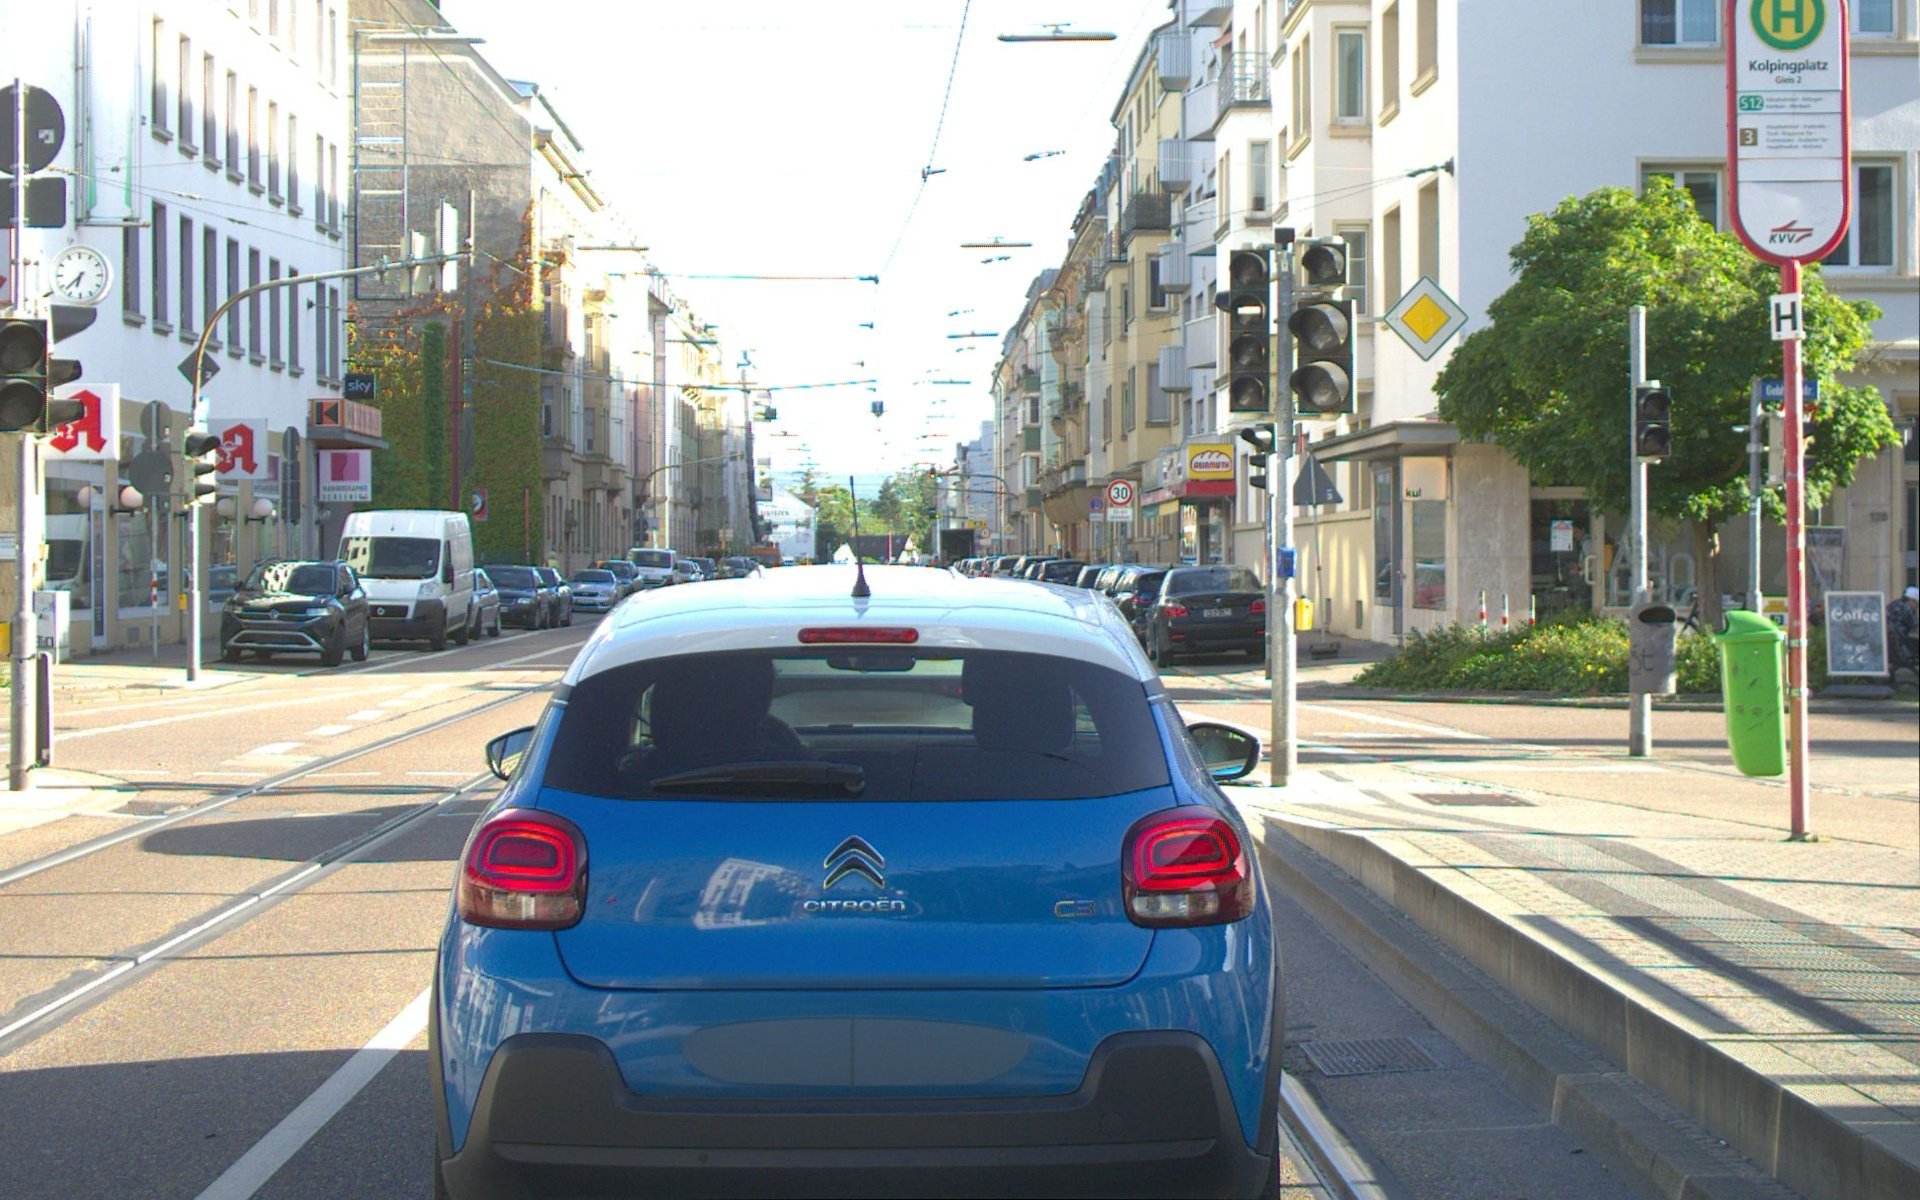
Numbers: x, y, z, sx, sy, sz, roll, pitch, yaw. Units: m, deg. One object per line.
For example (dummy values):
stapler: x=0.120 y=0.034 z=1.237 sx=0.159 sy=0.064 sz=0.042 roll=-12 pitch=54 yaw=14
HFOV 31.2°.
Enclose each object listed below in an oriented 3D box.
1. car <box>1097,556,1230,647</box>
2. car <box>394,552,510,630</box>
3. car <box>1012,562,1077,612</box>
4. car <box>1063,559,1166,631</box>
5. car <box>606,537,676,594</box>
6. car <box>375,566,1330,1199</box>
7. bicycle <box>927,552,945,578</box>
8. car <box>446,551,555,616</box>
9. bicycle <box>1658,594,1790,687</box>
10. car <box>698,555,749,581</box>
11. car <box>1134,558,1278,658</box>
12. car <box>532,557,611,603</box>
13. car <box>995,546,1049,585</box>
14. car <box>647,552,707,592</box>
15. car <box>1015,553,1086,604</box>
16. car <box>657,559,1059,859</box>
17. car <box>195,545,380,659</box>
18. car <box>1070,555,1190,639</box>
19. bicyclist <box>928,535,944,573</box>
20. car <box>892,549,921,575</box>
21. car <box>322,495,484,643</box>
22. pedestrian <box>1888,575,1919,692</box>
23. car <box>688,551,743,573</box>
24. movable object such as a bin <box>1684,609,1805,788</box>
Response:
car: x=3.358 y=-0.001 z=57.382 sx=1.993 sy=1.459 sz=4.000 roll=0 pitch=1 yaw=0
car: x=-10.215 y=-0.184 z=69.397 sx=1.888 sy=1.491 sz=3.562 roll=1 pitch=0 yaw=-2
car: x=2.667 y=-0.431 z=109.349 sx=1.993 sy=1.547 sz=4.000 roll=0 pitch=1 yaw=0
car: x=3.223 y=-0.124 z=72.279 sx=1.993 sy=1.459 sz=4.000 roll=0 pitch=1 yaw=0
car: x=-11.717 y=-1.258 z=126.546 sx=2.006 sy=2.007 sz=4.689 roll=1 pitch=0 yaw=1
car: x=-0.224 y=0.679 z=8.192 sx=1.728 sy=1.477 sz=3.827 roll=1 pitch=1 yaw=-1
bicycle: x=-1.296 y=-1.921 z=186.250 sx=0.920 sy=1.384 sz=3.132 roll=0 pitch=1 yaw=0
car: x=-10.369 y=-0.367 z=77.793 sx=1.993 sy=1.393 sz=4.157 roll=1 pitch=0 yaw=-2
bicycle: x=9.425 y=0.493 z=42.428 sx=1.568 sy=1.117 sz=0.300 roll=1 pitch=0 yaw=11
car: x=-10.551 y=-1.448 z=153.835 sx=1.993 sy=1.152 sz=4.000 roll=0 pitch=1 yaw=0
car: x=3.699 y=0.089 z=52.362 sx=1.909 sy=1.459 sz=4.000 roll=0 pitch=1 yaw=0
car: x=-11.616 y=-0.596 z=103.037 sx=1.993 sy=1.320 sz=3.923 roll=1 pitch=0 yaw=-2
car: x=2.378 y=-1.333 z=132.950 sx=1.993 sy=1.459 sz=4.000 roll=0 pitch=1 yaw=0
car: x=-11.254 y=-1.099 z=136.935 sx=1.955 sy=1.547 sz=3.938 roll=1 pitch=0 yaw=2
car: x=2.661 y=-0.650 z=101.838 sx=1.993 sy=1.459 sz=4.504 roll=0 pitch=1 yaw=0
car: x=-0.540 y=0.516 z=19.544 sx=1.984 sy=1.459 sz=4.816 roll=1 pitch=1 yaw=-1
car: x=-10.157 y=0.019 z=52.237 sx=1.993 sy=1.563 sz=4.403 roll=3 pitch=0 yaw=-2
car: x=3.061 y=-0.076 z=62.748 sx=1.993 sy=1.496 sz=4.000 roll=0 pitch=1 yaw=0
bicyclist: x=-1.318 y=-2.497 z=186.197 sx=0.809 sy=2.007 sz=0.922 roll=1 pitch=0 yaw=-2
car: x=-3.735 y=-2.652 z=238.516 sx=1.993 sy=1.766 sz=4.000 roll=0 pitch=1 yaw=-1
car: x=-10.065 y=-0.572 z=62.593 sx=2.085 sy=2.533 sz=6.206 roll=1 pitch=1 yaw=-2
pedestrian: x=10.911 y=0.375 z=38.866 sx=0.741 sy=1.311 sz=0.627 roll=0 pitch=1 yaw=23
car: x=-13.115 y=-2.034 z=184.654 sx=1.994 sy=1.152 sz=4.513 roll=0 pitch=1 yaw=9
movable object such as a bin: x=3.514 y=0.435 z=15.419 sx=0.449 sy=0.783 sz=0.489 roll=0 pitch=0 yaw=2
